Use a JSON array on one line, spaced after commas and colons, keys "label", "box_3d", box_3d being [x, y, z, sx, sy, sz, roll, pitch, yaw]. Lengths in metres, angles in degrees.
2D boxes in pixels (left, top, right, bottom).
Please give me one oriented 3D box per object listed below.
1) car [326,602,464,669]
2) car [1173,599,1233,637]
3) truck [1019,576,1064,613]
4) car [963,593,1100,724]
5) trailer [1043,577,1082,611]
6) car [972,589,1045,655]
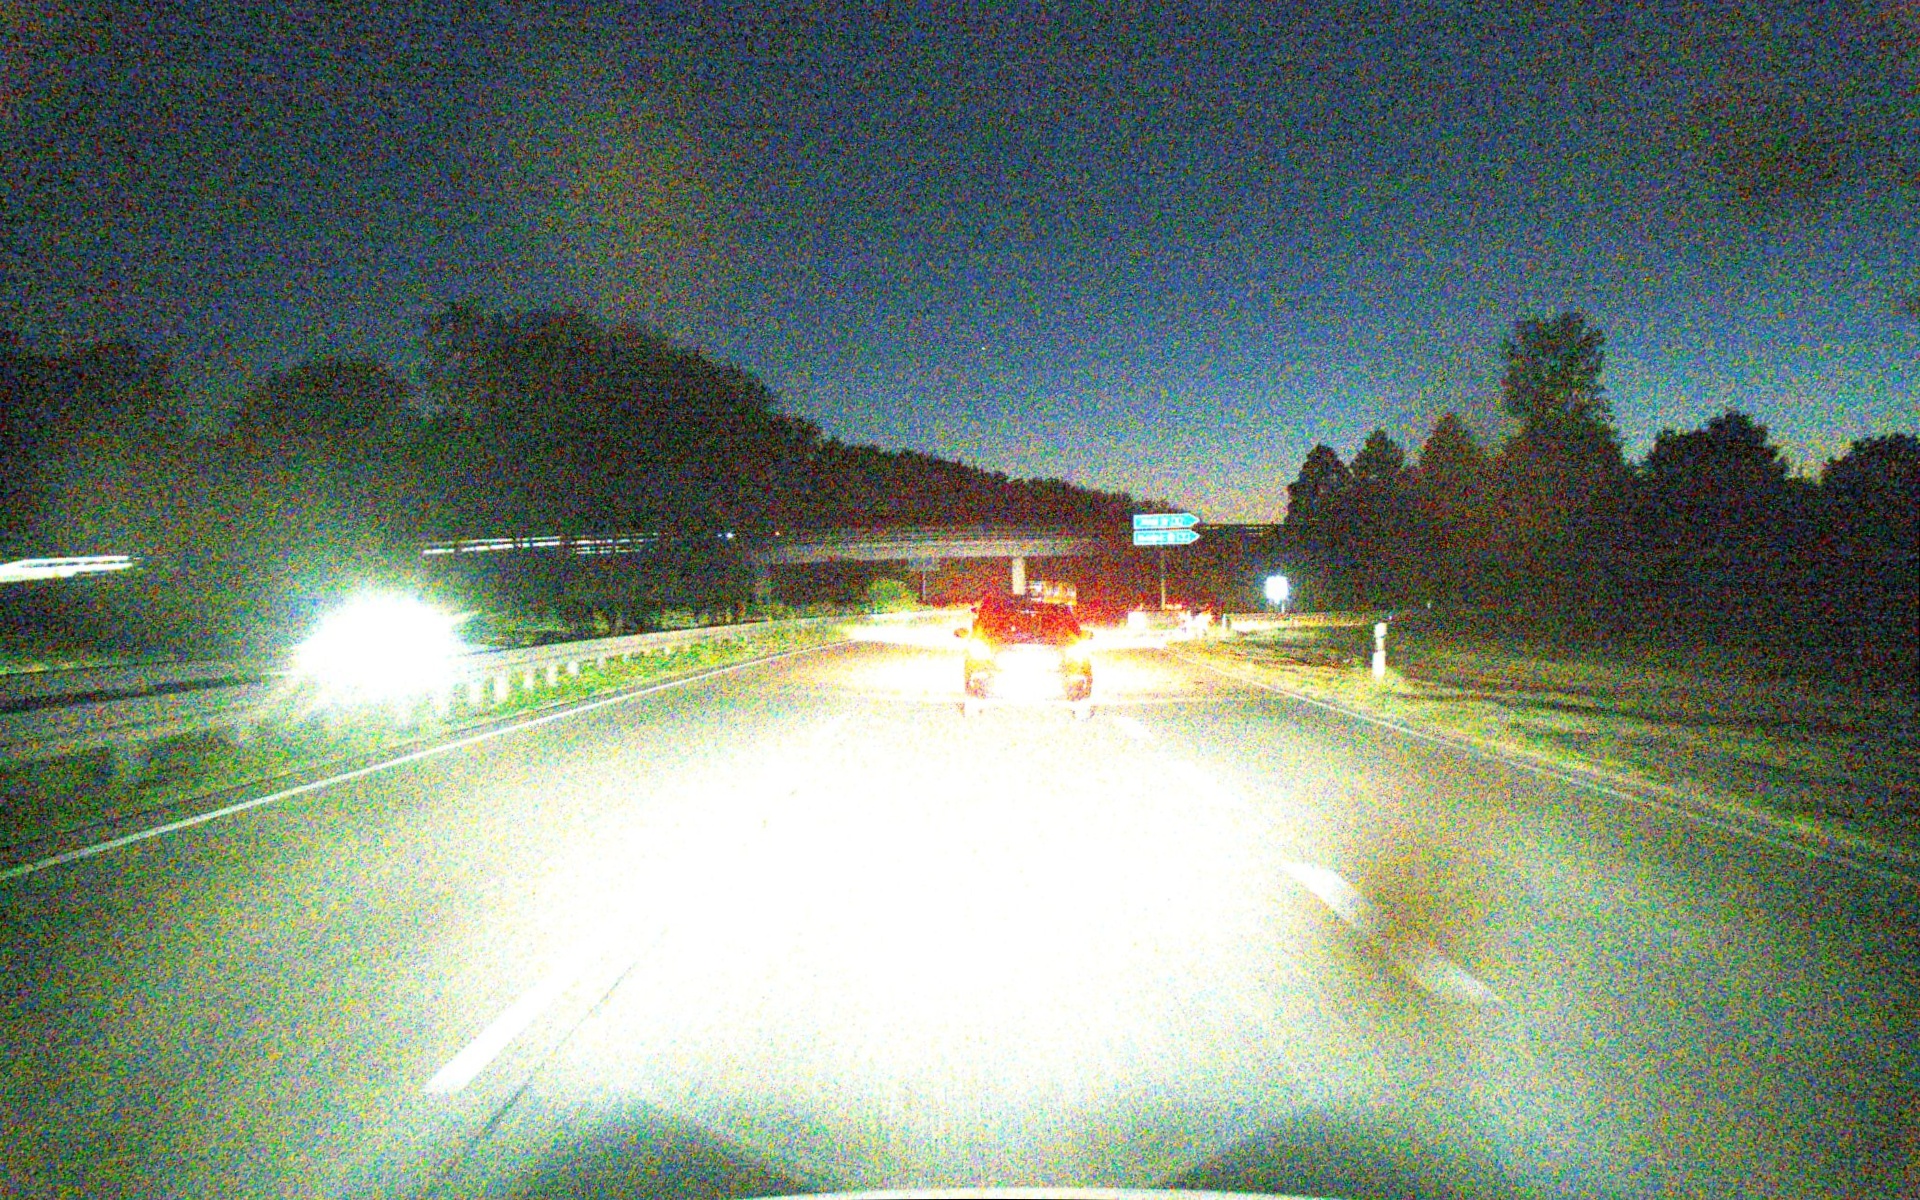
[{"label": "car", "box_3d": [-14.359, 0.870, 42.288, 1.952, 1.584, 4.296, 0, 0, 1]}, {"label": "car", "box_3d": [12.239, 0.876, 83.167, 1.893, 1.847, 4.262, 0, 0, 25]}, {"label": "truck", "box_3d": [9.647, -0.656, 194.281, 2.624, 4.115, 10.659, -1, 0, 18]}, {"label": "car", "box_3d": [0.862, 0.690, 21.809, 1.556, 1.534, 3.999, 1, 0, -1]}, {"label": "trailer", "box_3d": [12.668, -0.723, 203.694, 2.660, 4.026, 9.051, -1, 0, 18]}, {"label": "car", "box_3d": [1.286, 0.567, 45.180, 1.867, 1.728, 4.000, 0, 0, 0]}]
